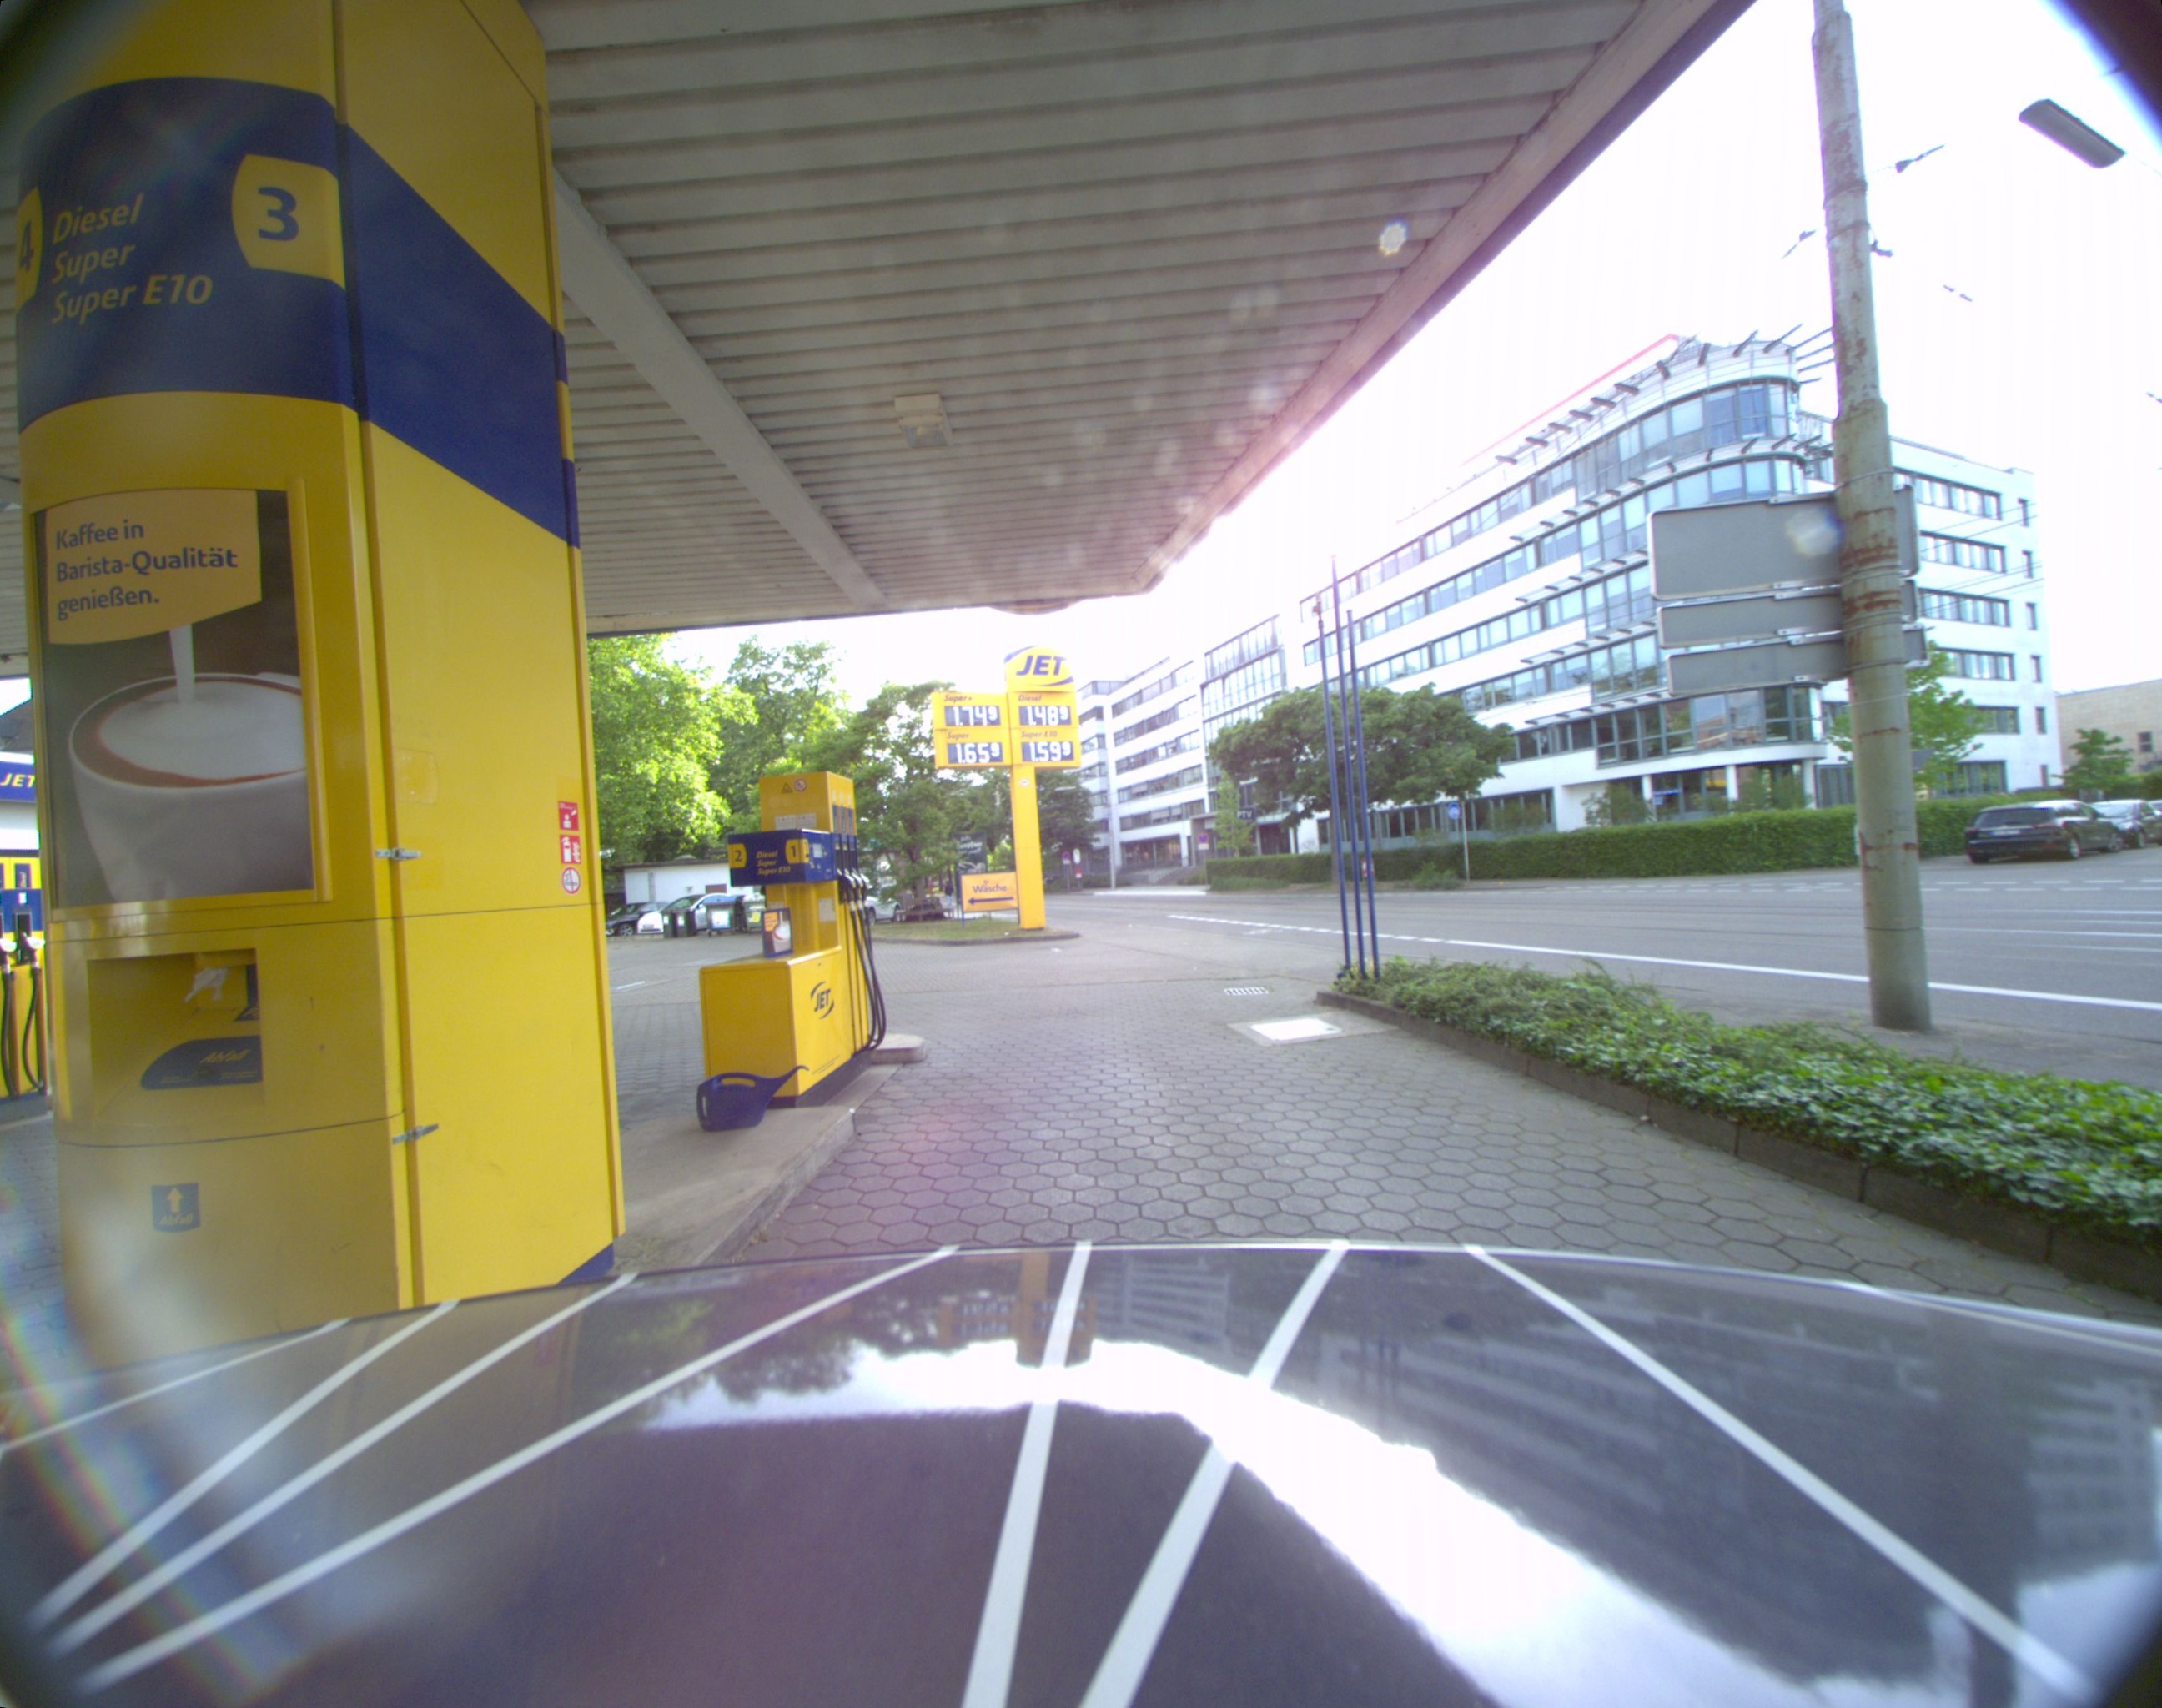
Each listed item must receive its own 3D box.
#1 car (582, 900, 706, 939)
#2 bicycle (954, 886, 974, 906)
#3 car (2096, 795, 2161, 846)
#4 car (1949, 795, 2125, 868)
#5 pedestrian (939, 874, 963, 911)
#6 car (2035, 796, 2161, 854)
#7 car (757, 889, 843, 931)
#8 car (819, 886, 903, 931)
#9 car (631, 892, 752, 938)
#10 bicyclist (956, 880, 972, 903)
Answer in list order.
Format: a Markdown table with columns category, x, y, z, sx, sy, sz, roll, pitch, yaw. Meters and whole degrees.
| category | x | y | z | sx | sy | sz | roll | pitch | yaw |
| --- | --- | --- | --- | --- | --- | --- | --- | --- | --- |
| car | -17.744 | 2.635 | 31.064 | 1.745 | 1.269 | 4.230 | -5 | -3 | 19 |
| bicycle | -7.639 | 2.752 | 49.692 | 0.736 | 1.250 | 1.936 | -5 | 0 | -22 |
| car | 37.152 | -1.235 | 26.076 | 4.109 | 1.544 | 1.786 | -4 | -1 | -23 |
| car | 27.378 | -0.647 | 21.766 | 4.438 | 1.603 | 1.976 | -5 | -1 | -23 |
| pedestrian | -7.337 | 2.155 | 42.859 | 0.934 | 2.001 | 1.214 | -2 | -1 | -24 |
| car | 32.493 | -0.940 | 24.037 | 4.109 | 1.544 | 1.786 | -4 | -1 | -23 |
| car | -11.801 | 2.326 | 32.237 | 1.739 | 1.500 | 4.004 | -4 | -2 | 6 |
| car | -8.685 | 2.119 | 30.375 | 1.739 | 1.500 | 4.003 | -4 | -2 | 6 |
| car | -15.359 | 2.387 | 30.248 | 1.785 | 1.514 | 4.229 | -4 | -3 | 17 |
| bicyclist | -7.636 | 2.431 | 49.624 | 0.736 | 1.451 | 0.915 | -5 | 0 | -22 |
